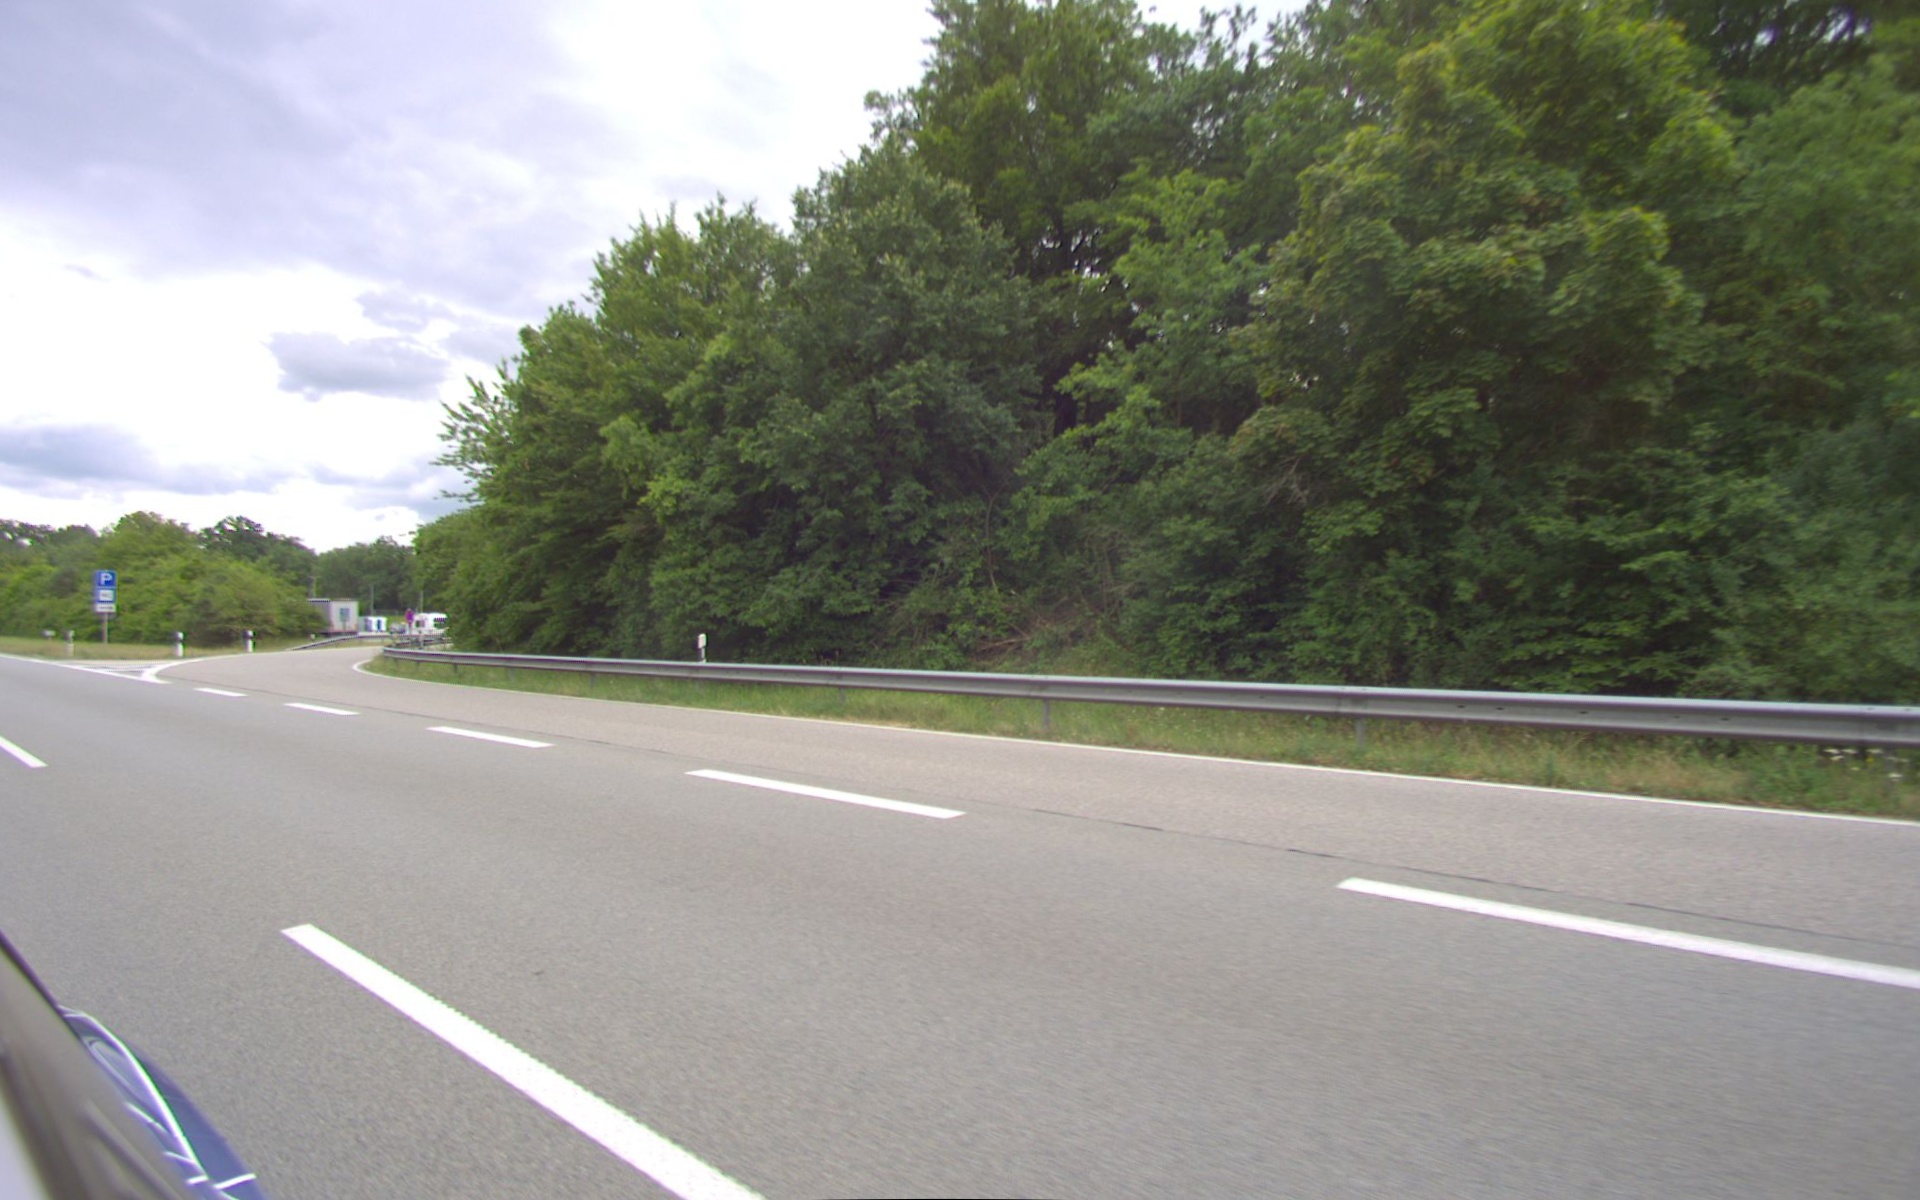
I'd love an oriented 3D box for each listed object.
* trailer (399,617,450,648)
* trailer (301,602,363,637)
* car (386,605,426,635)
[{"bbox_3d":[-52.692,3.156,99.480,2.451,2.987,7.398,0,-1,-45],"label":"trailer"},{"bbox_3d":[-60.376,1.876,97.351,1.998,3.277,4.628,-1,-1,40],"label":"trailer"},{"bbox_3d":[-56.744,2.084,103.654,2.371,2.984,4.603,0,-1,-45],"label":"car"}]
